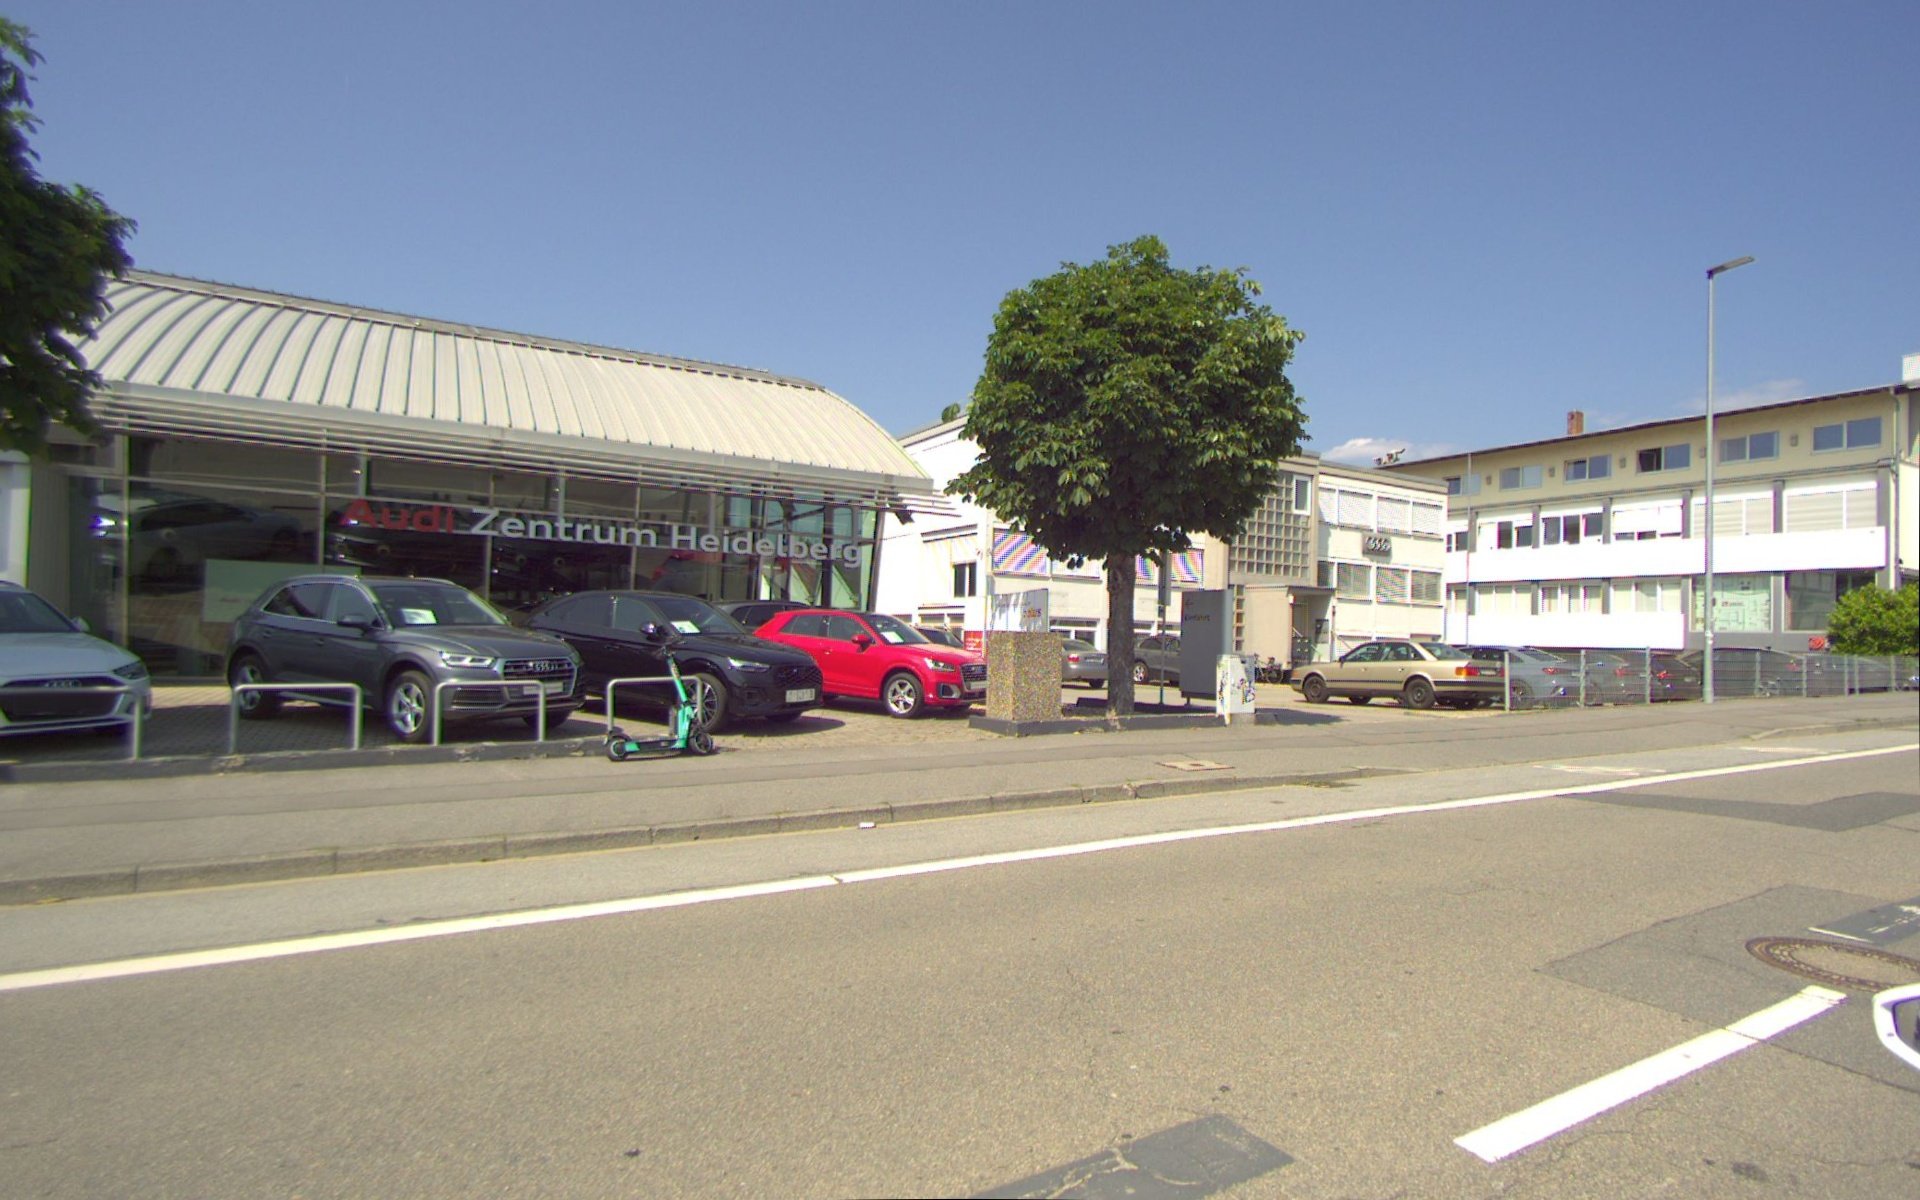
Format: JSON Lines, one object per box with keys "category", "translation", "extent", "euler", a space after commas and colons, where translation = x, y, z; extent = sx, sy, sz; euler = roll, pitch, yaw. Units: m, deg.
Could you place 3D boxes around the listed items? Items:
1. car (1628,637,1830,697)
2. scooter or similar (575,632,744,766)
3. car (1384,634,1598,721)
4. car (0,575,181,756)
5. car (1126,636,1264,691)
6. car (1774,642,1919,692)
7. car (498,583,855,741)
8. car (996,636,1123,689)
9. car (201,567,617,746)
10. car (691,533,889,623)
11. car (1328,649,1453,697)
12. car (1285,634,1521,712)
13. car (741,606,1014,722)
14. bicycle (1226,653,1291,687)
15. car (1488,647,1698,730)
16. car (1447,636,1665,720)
{"category": "car", "translation": [22.211, 1.887, 29.176], "extent": [1.974, 1.579, 4.271], "euler": [2, -2, -33]}
{"category": "scooter or similar", "translation": [-3.072, 0.971, 10.324], "extent": [1.477, 1.264, 0.738], "euler": [2, -1, -38]}
{"category": "car", "translation": [11.921, 1.713, 22.790], "extent": [1.803, 1.463, 3.870], "euler": [5, 0, -31]}
{"category": "car", "translation": [-9.778, 0.498, 9.683], "extent": [4.123, 1.514, 1.873], "euler": [2, -1, 25]}
{"category": "car", "translation": [7.566, 2.026, 32.744], "extent": [1.839, 1.573, 4.330], "euler": [2, -2, -32]}
{"category": "car", "translation": [29.516, 2.131, 32.377], "extent": [2.025, 1.500, 4.716], "euler": [2, -2, -31]}
{"category": "car", "translation": [-3.820, 0.728, 13.497], "extent": [4.396, 1.730, 1.909], "euler": [2, 0, 25]}
{"category": "car", "translation": [2.883, 1.822, 29.930], "extent": [1.837, 1.377, 3.969], "euler": [2, -1, -30]}
{"category": "car", "translation": [-6.315, 0.541, 11.474], "extent": [4.494, 1.719, 1.858], "euler": [1, -1, 25]}
{"category": "car", "translation": [-3.671, -0.403, 21.510], "extent": [3.936, 1.706, 1.993], "euler": [2, -1, -17]}
{"category": "car", "translation": [15.993, 2.678, 37.502], "extent": [1.838, 1.566, 3.967], "euler": [2, -1, -31]}
{"category": "car", "translation": [9.531, 1.517, 21.984], "extent": [1.879, 1.476, 4.501], "euler": [2, -2, -31]}
{"category": "car", "translation": [-1.329, 0.928, 15.901], "extent": [3.928, 1.571, 1.856], "euler": [1, -1, 30]}
{"category": "bicycle", "translation": [11.351, 2.638, 38.150], "extent": [2.548, 1.194, 0.920], "euler": [2, -1, -32]}
{"category": "car", "translation": [15.616, 2.155, 24.972], "extent": [1.840, 1.510, 3.963], "euler": [5, 0, -33]}
{"category": "car", "translation": [13.958, 1.790, 23.733], "extent": [1.839, 1.462, 3.965], "euler": [5, 0, -32]}
